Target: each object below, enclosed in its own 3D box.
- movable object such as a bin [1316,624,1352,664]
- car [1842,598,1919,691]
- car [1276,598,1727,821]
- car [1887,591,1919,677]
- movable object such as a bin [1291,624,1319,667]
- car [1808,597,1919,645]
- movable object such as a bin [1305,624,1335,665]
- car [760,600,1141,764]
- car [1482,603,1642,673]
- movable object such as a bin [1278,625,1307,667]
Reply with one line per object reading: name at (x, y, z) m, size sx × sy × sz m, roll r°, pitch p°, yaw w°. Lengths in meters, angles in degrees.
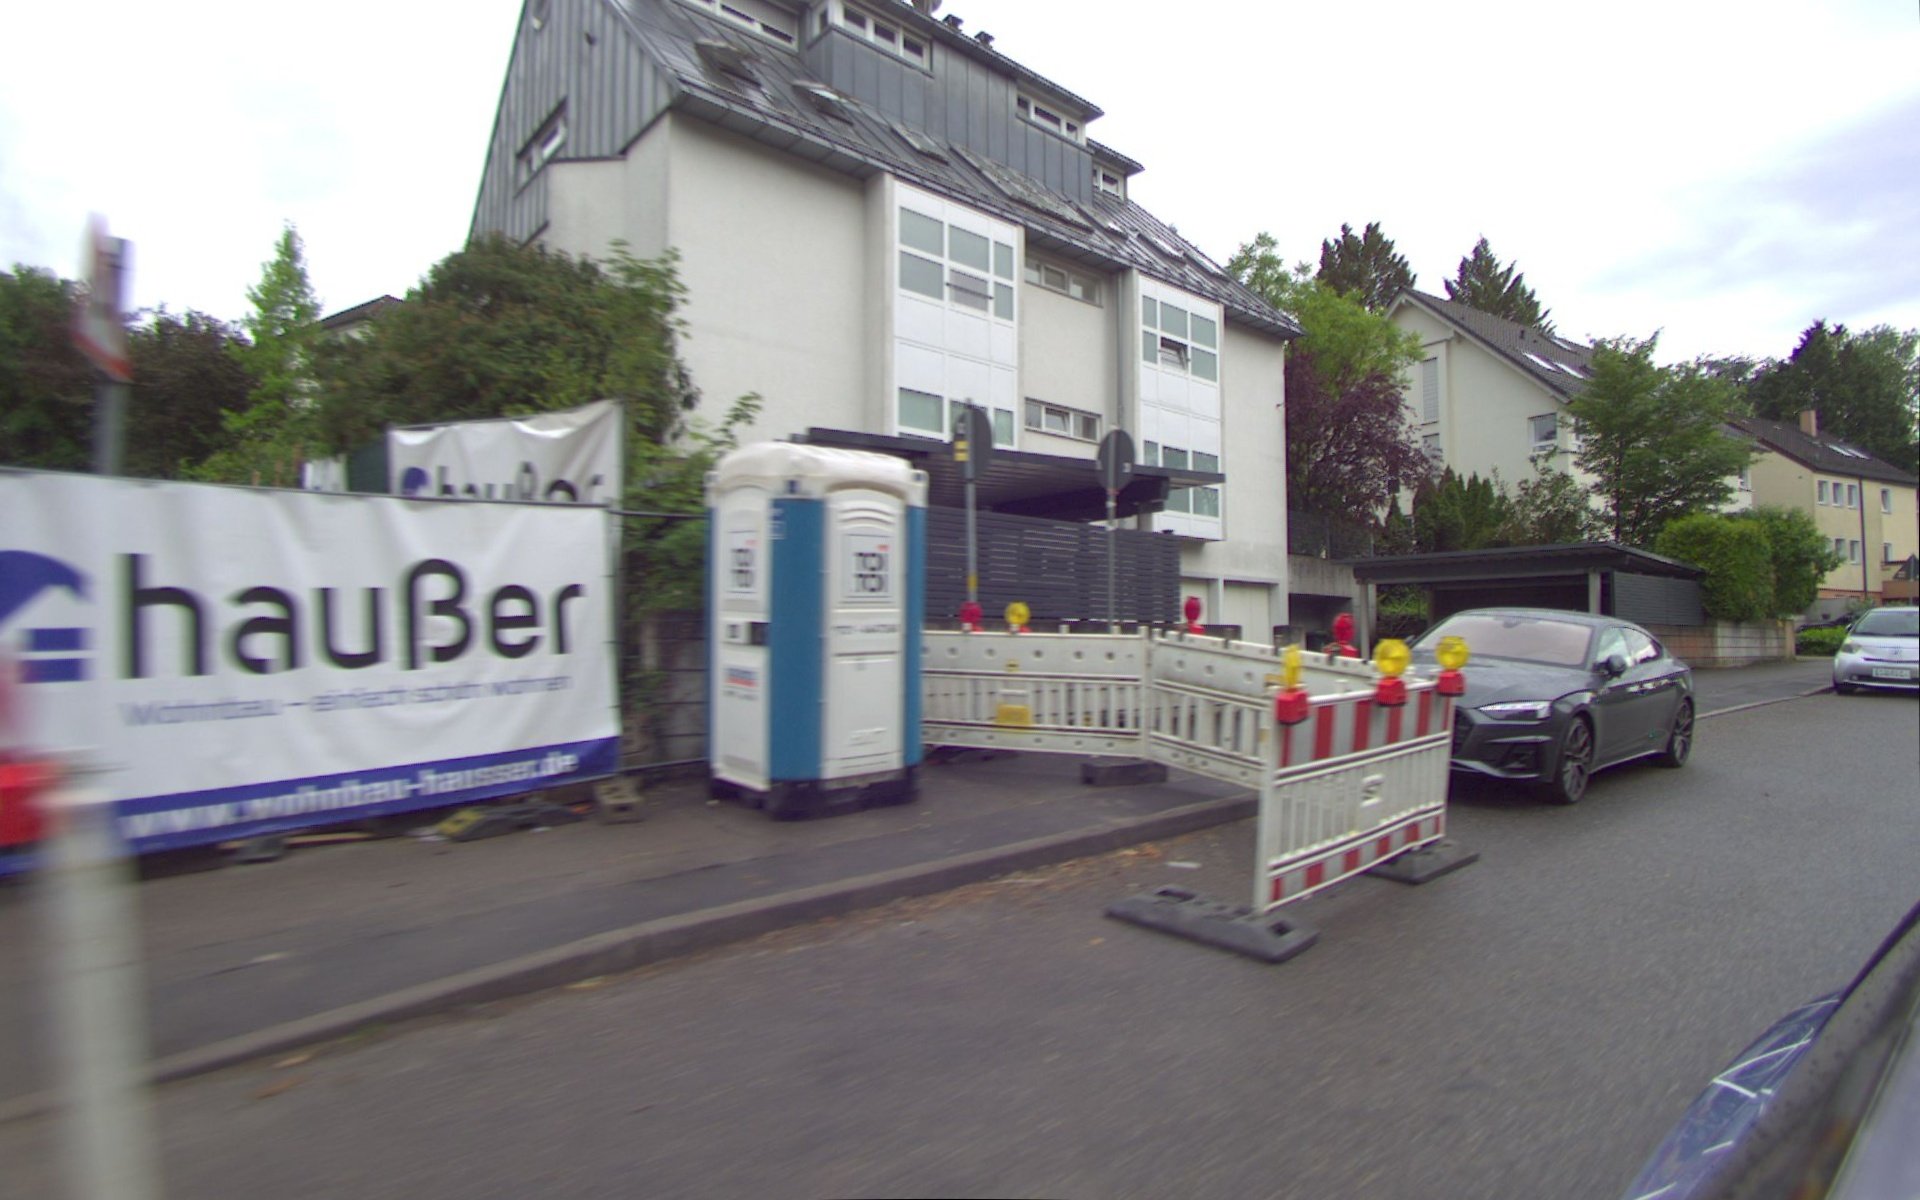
movable object such as a bin at (9.849, 1.147, 26.643) m, size 0.661 × 1.036 × 0.644 m, roll 0°, pitch -1°, yaw -39°
car at (16.562, 0.708, 17.216) m, size 3.323 × 1.476 × 1.677 m, roll 0°, pitch 0°, yaw -37°
car at (4.918, 0.721, 8.853) m, size 4.753 × 1.440 × 1.935 m, roll 0°, pitch -1°, yaw -41°
car at (20.099, 0.645, 19.795) m, size 4.310 × 1.616 × 1.939 m, roll 0°, pitch 1°, yaw -34°
movable object such as a bin at (8.673, 1.136, 25.467) m, size 0.562 × 1.036 × 0.424 m, roll 0°, pitch -1°, yaw -39°
car at (34.402, 0.750, 37.323) m, size 1.953 × 1.617 × 4.341 m, roll 0°, pitch -4°, yaw -33°
movable object such as a bin at (9.252, 1.139, 26.025) m, size 0.562 × 1.036 × 0.505 m, roll 0°, pitch -1°, yaw -39°
car at (-0.019, 0.802, 11.147) m, size 3.926 × 1.492 × 1.698 m, roll 0°, pitch -4°, yaw -37°
car at (13.382, 0.809, 22.432) m, size 3.928 × 1.415 × 1.738 m, roll 0°, pitch -3°, yaw -39°
movable object such as a bin at (8.237, 1.133, 25.079) m, size 0.562 × 1.036 × 0.424 m, roll 0°, pitch -1°, yaw -39°
